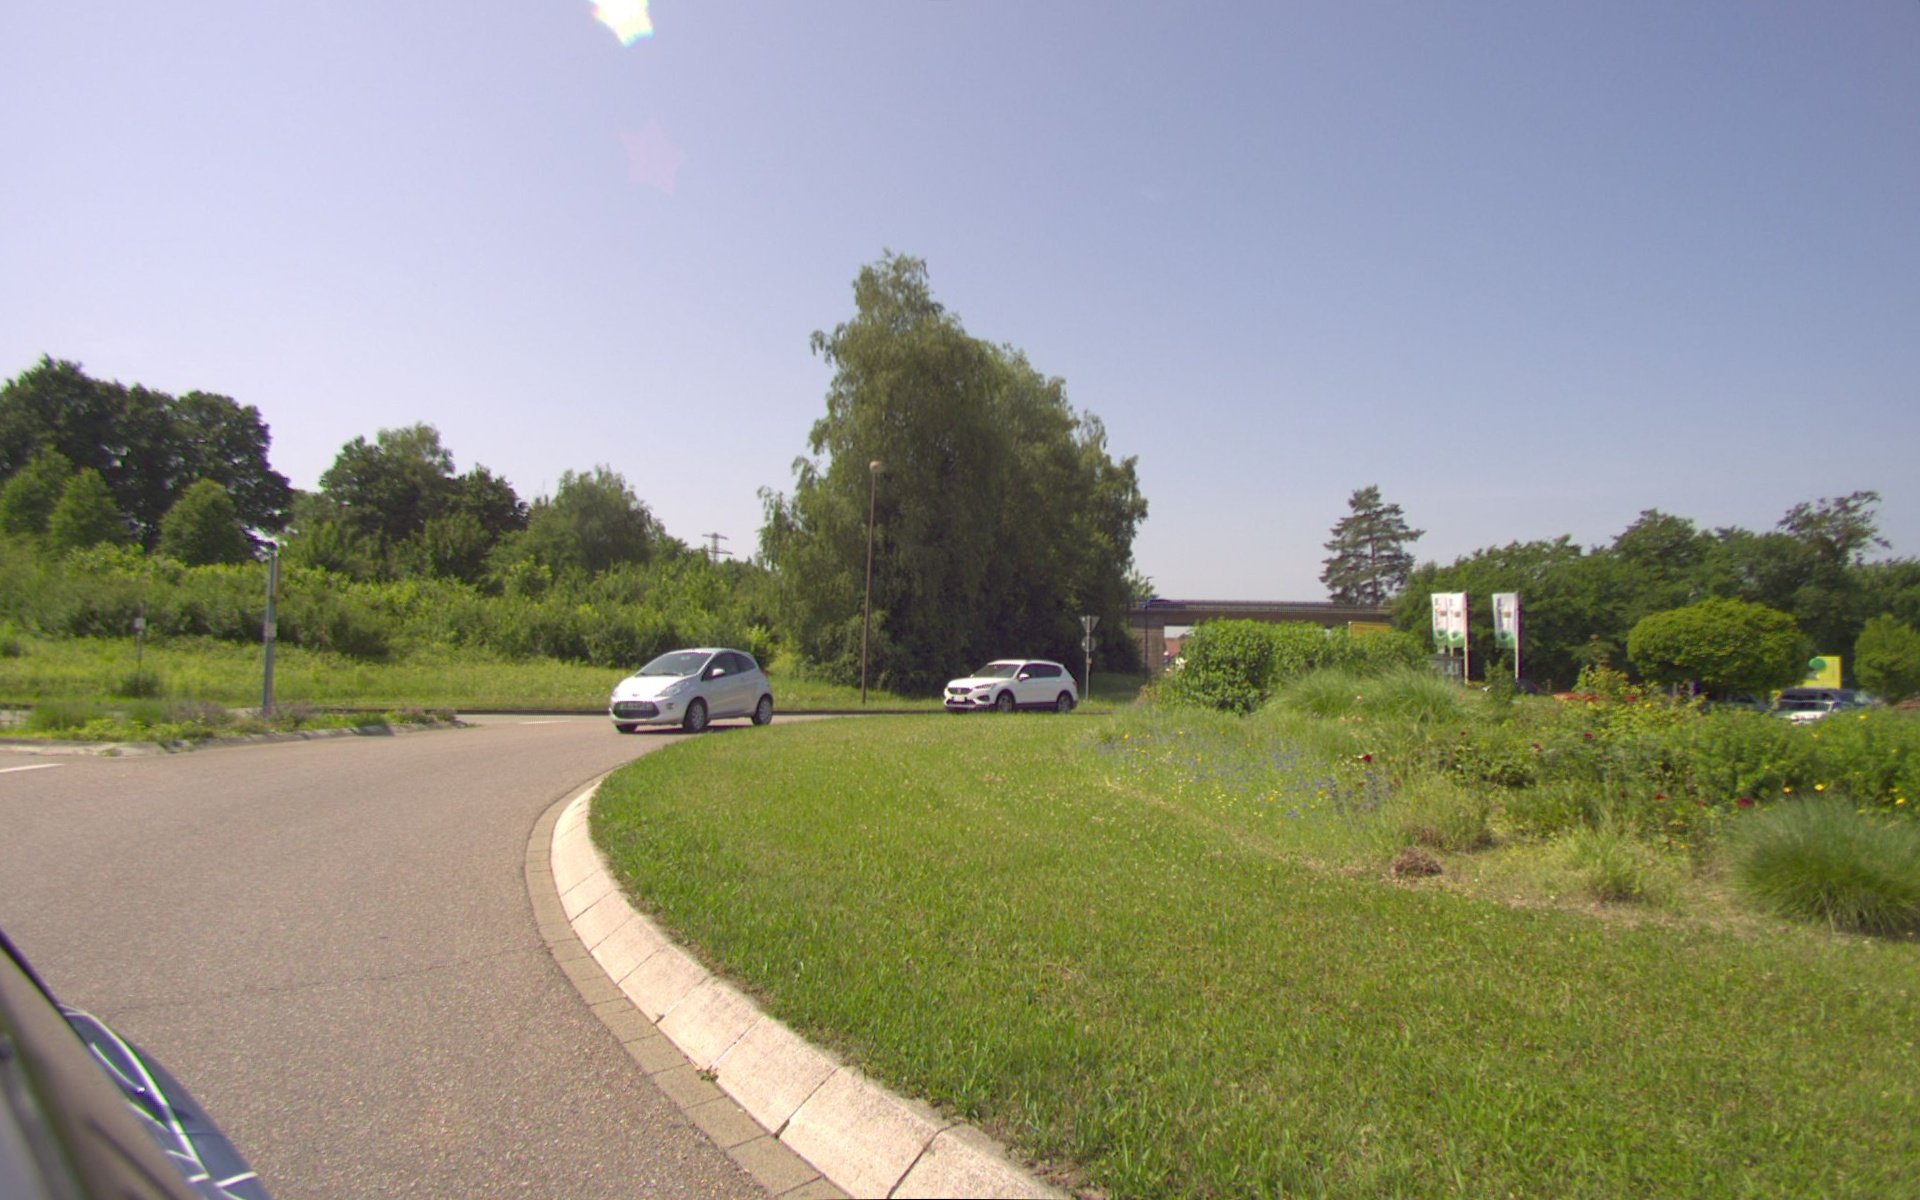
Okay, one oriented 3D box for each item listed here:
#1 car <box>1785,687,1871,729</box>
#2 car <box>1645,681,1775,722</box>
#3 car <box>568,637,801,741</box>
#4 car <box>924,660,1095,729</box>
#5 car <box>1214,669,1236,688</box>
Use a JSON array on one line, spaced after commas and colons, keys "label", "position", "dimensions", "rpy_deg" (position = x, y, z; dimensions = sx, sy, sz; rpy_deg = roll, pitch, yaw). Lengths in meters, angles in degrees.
[{"label": "car", "position": [35.134, 4.337, 40.944], "dimensions": [4.490, 1.509, 1.589], "rpy_deg": [3, -2, -35]}, {"label": "car", "position": [34.290, 4.624, 46.377], "dimensions": [4.356, 1.573, 1.871], "rpy_deg": [2, -2, 9]}, {"label": "car", "position": [-4.935, 1.533, 18.783], "dimensions": [2.115, 1.628, 4.168], "rpy_deg": [-1, -2, 22]}, {"label": "car", "position": [1.507, 2.606, 28.864], "dimensions": [2.197, 1.665, 5.051], "rpy_deg": [0, -2, 41]}, {"label": "car", "position": [26.380, 7.844, 101.009], "dimensions": [2.009, 1.665, 4.617], "rpy_deg": [1, -2, 14]}]
